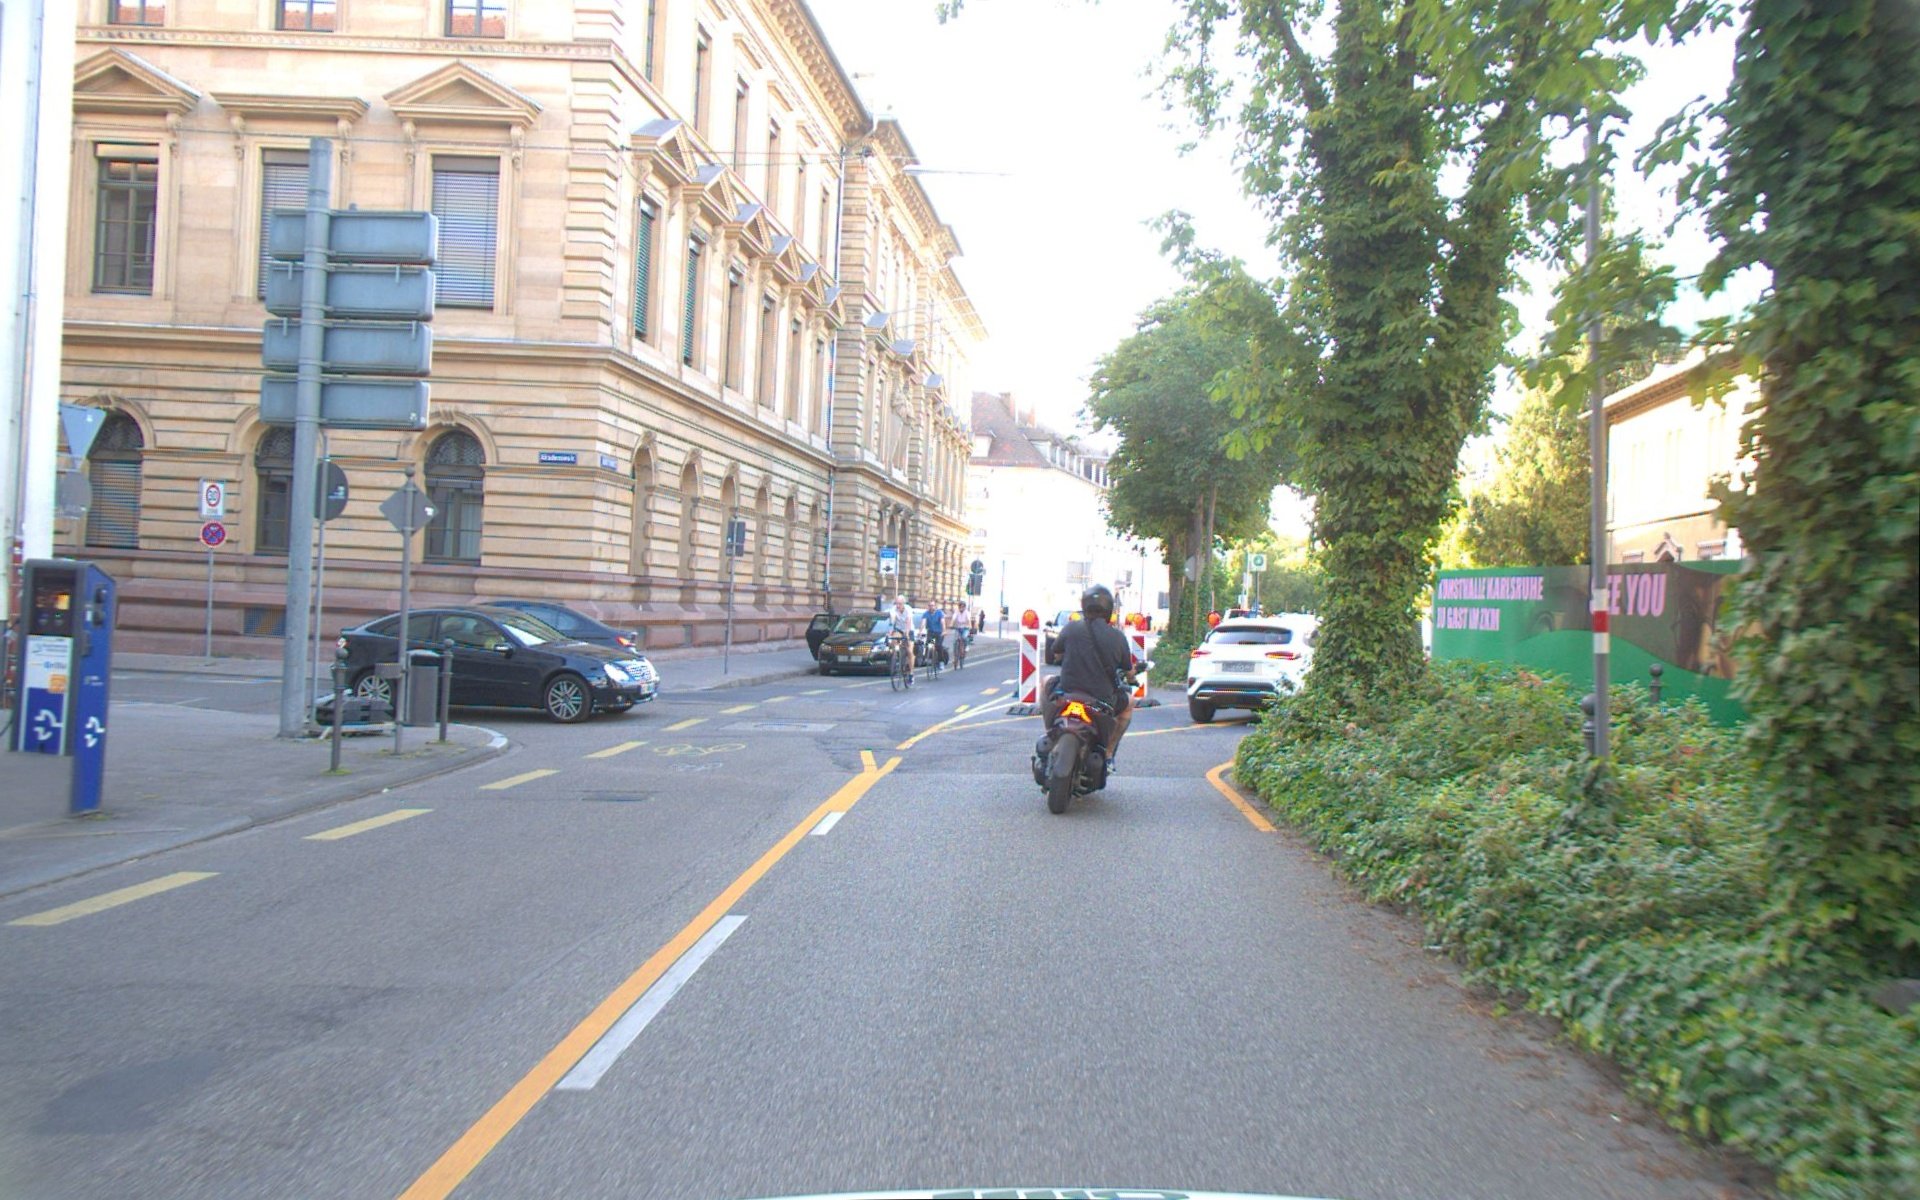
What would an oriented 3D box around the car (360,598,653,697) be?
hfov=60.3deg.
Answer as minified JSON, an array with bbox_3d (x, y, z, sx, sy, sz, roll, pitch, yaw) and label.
[{"bbox_3d":[-7.249,0.756,26.685,4.381,1.486,1.768,1,0,-16],"label":"car"}]

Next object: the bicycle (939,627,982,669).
[{"bbox_3d":[0.026,1.261,43.620,0.522,1.053,2.036,1,0,18],"label":"bicycle"}]

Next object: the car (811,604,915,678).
[{"bbox_3d":[-2.214,0.928,38.990,1.952,1.594,4.290,1,0,3],"label":"car"}]

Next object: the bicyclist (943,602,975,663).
[{"bbox_3d":[-0.021,0.847,43.584,0.615,1.581,0.732,1,0,18],"label":"bicyclist"}]

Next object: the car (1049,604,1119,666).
[{"bbox_3d":[3.639,0.997,49.179,1.952,1.724,4.401,1,0,3],"label":"car"}]

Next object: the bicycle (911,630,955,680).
[{"bbox_3d":[-0.589,1.226,37.107,0.521,1.053,1.908,1,0,13],"label":"bicycle"}]

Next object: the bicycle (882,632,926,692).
[{"bbox_3d":[-1.057,1.166,31.607,0.570,1.053,2.130,1,0,5],"label":"bicycle"}]

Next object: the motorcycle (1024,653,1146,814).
[{"bbox_3d":[1.006,1.001,12.956,0.779,1.084,1.726,3,0,8],"label":"motorcycle"}]

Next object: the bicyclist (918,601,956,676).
[{"bbox_3d":[-0.512,0.850,37.169,0.615,1.642,0.870,1,0,13],"label":"bicyclist"}]

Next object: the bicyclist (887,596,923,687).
[{"bbox_3d":[-1.052,0.783,31.623,0.554,1.696,0.835,1,0,5],"label":"bicyclist"}]

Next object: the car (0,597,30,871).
[{"bbox_3d":[-6.179,0.697,7.003,1.787,1.530,4.759,3,0,-1],"label":"car"}]

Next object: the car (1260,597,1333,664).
[{"bbox_3d":[10.630,0.948,52.498,1.801,1.945,4.060,3,0,6],"label":"car"}]

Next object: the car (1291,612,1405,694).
[{"bbox_3d":[7.955,1.048,34.232,1.801,1.489,4.060,3,0,7],"label":"car"}]

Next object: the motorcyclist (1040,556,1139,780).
[{"bbox_3d":[1.027,0.521,12.982,0.643,1.679,0.651,3,-1,8],"label":"motorcyclist"}]

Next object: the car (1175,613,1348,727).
[{"bbox_3d":[4.570,0.967,24.598,1.813,1.506,4.057,0,0,21],"label":"car"}]

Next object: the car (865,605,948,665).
[{"bbox_3d":[-1.455,0.937,46.345,1.952,1.555,4.186,1,0,3],"label":"car"}]

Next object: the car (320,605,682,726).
[{"bbox_3d":[-6.003,0.824,21.855,4.221,1.414,1.777,1,0,8],"label":"car"}]
